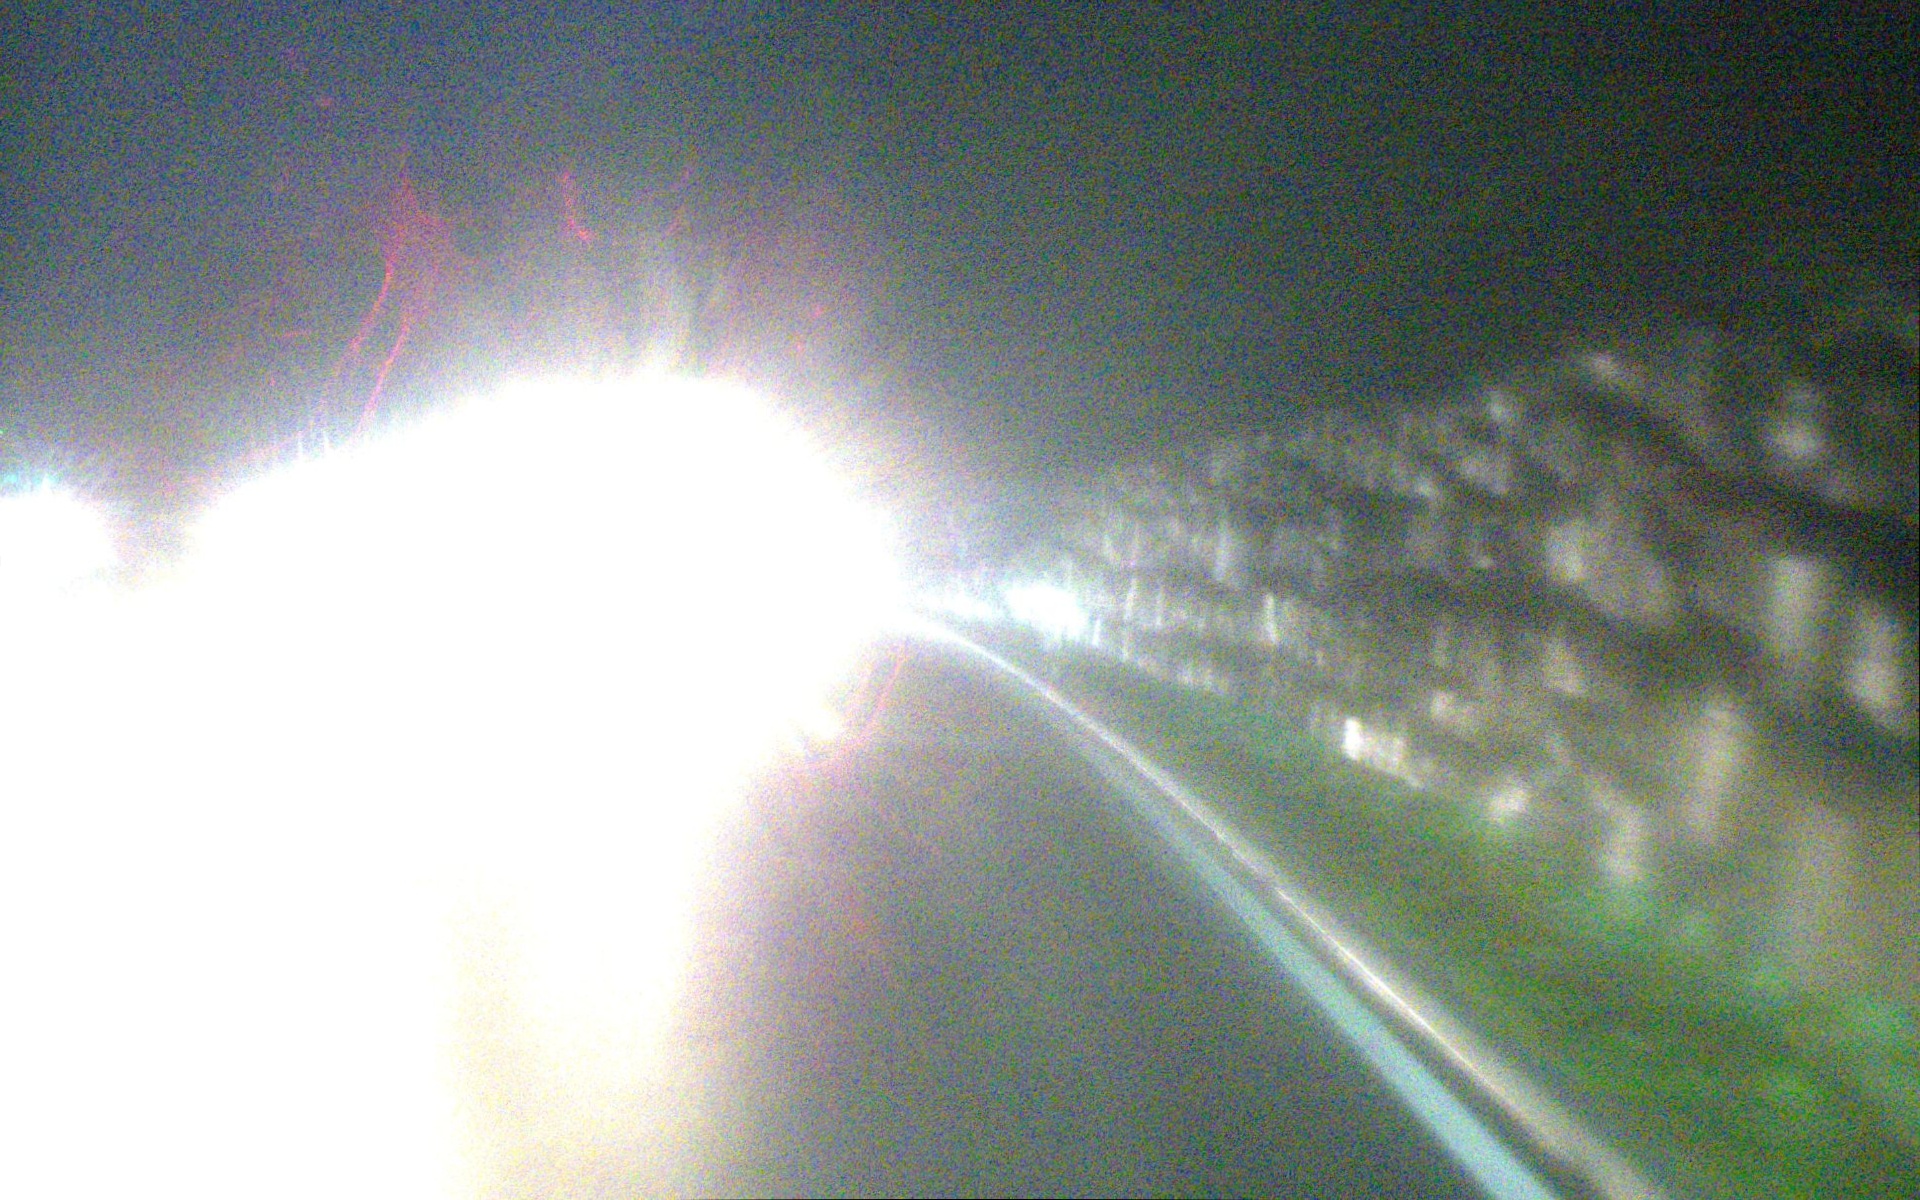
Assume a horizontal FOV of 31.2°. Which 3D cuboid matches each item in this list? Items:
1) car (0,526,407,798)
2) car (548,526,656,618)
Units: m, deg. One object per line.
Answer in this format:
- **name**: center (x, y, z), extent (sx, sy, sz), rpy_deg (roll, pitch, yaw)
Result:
- **car**: center (-4.376, 0.300, 20.041), extent (1.711, 1.413, 4.066), rpy_deg (0, 1, -1)
- **car**: center (-6.175, -0.487, 59.558), extent (1.636, 1.514, 3.771), rpy_deg (-1, 1, -3)
